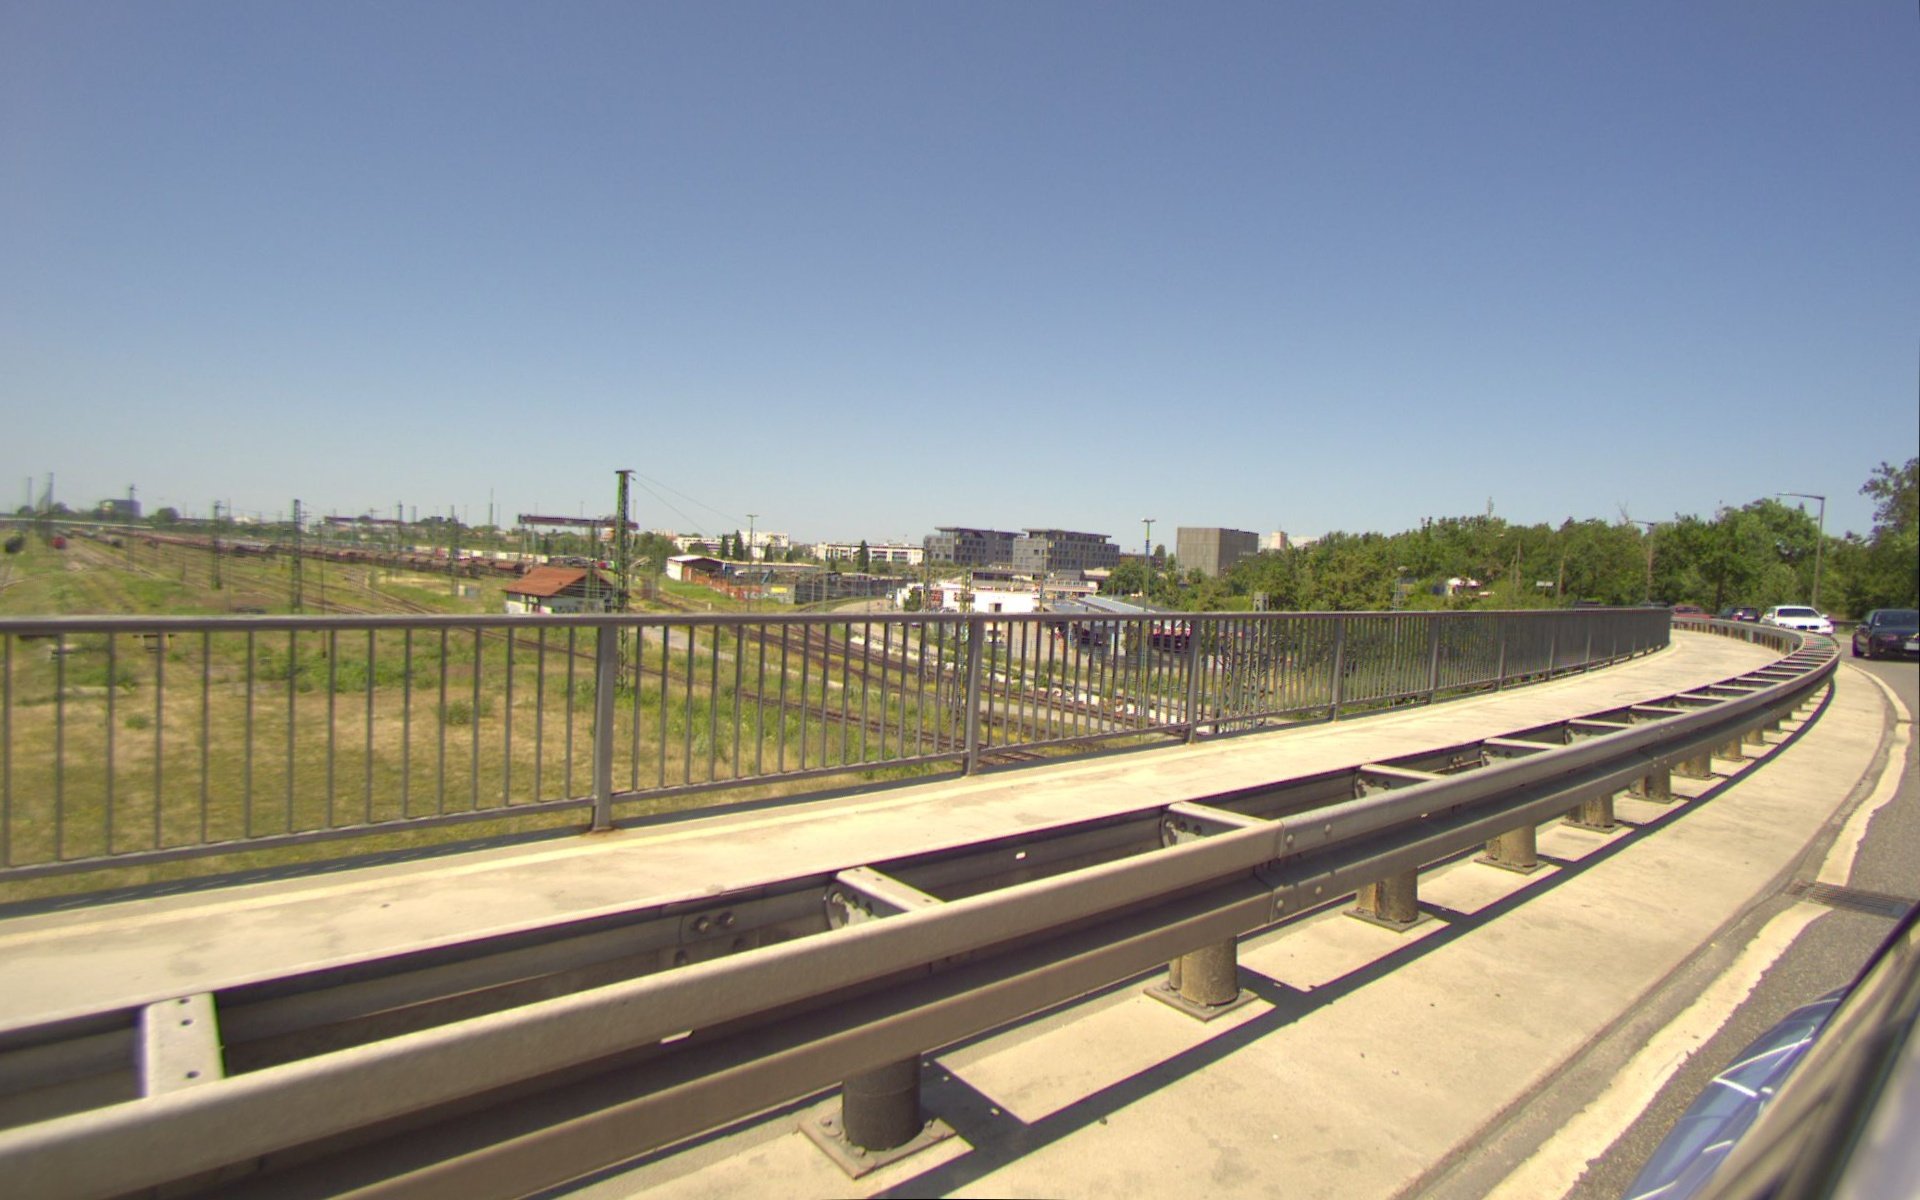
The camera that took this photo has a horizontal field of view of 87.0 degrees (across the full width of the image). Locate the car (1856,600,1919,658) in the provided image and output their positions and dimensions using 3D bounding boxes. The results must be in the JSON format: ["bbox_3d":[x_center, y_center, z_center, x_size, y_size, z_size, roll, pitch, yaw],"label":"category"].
[{"bbox_3d":[26.316,0.748,27.904,1.783,1.473,4.468,1,1,34],"label":"car"}]

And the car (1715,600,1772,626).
[{"bbox_3d":[46.729,0.777,60.434,1.519,1.447,3.973,2,0,20],"label":"car"}]

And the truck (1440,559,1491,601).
[{"bbox_3d":[53.828,-2.052,108.009,2.650,4.282,6.827,-1,0,7],"label":"truck"}]

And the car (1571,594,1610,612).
[{"bbox_3d":[54.277,0.265,87.159,1.514,1.447,3.985,2,0,12],"label":"car"}]

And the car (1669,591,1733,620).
[{"bbox_3d":[42.172,0.273,57.698,1.774,1.473,4.492,2,2,21],"label":"car"}]

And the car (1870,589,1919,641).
[{"bbox_3d":[38.974,0.612,41.108,1.980,2.039,3.963,0,0,26],"label":"car"}]

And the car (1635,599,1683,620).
[{"bbox_3d":[50.343,0.645,72.966,1.515,1.447,3.982,2,0,14],"label":"car"}]

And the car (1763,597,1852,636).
[{"bbox_3d":[34.069,0.624,40.825,1.778,1.473,4.480,0,0,27],"label":"car"}]
